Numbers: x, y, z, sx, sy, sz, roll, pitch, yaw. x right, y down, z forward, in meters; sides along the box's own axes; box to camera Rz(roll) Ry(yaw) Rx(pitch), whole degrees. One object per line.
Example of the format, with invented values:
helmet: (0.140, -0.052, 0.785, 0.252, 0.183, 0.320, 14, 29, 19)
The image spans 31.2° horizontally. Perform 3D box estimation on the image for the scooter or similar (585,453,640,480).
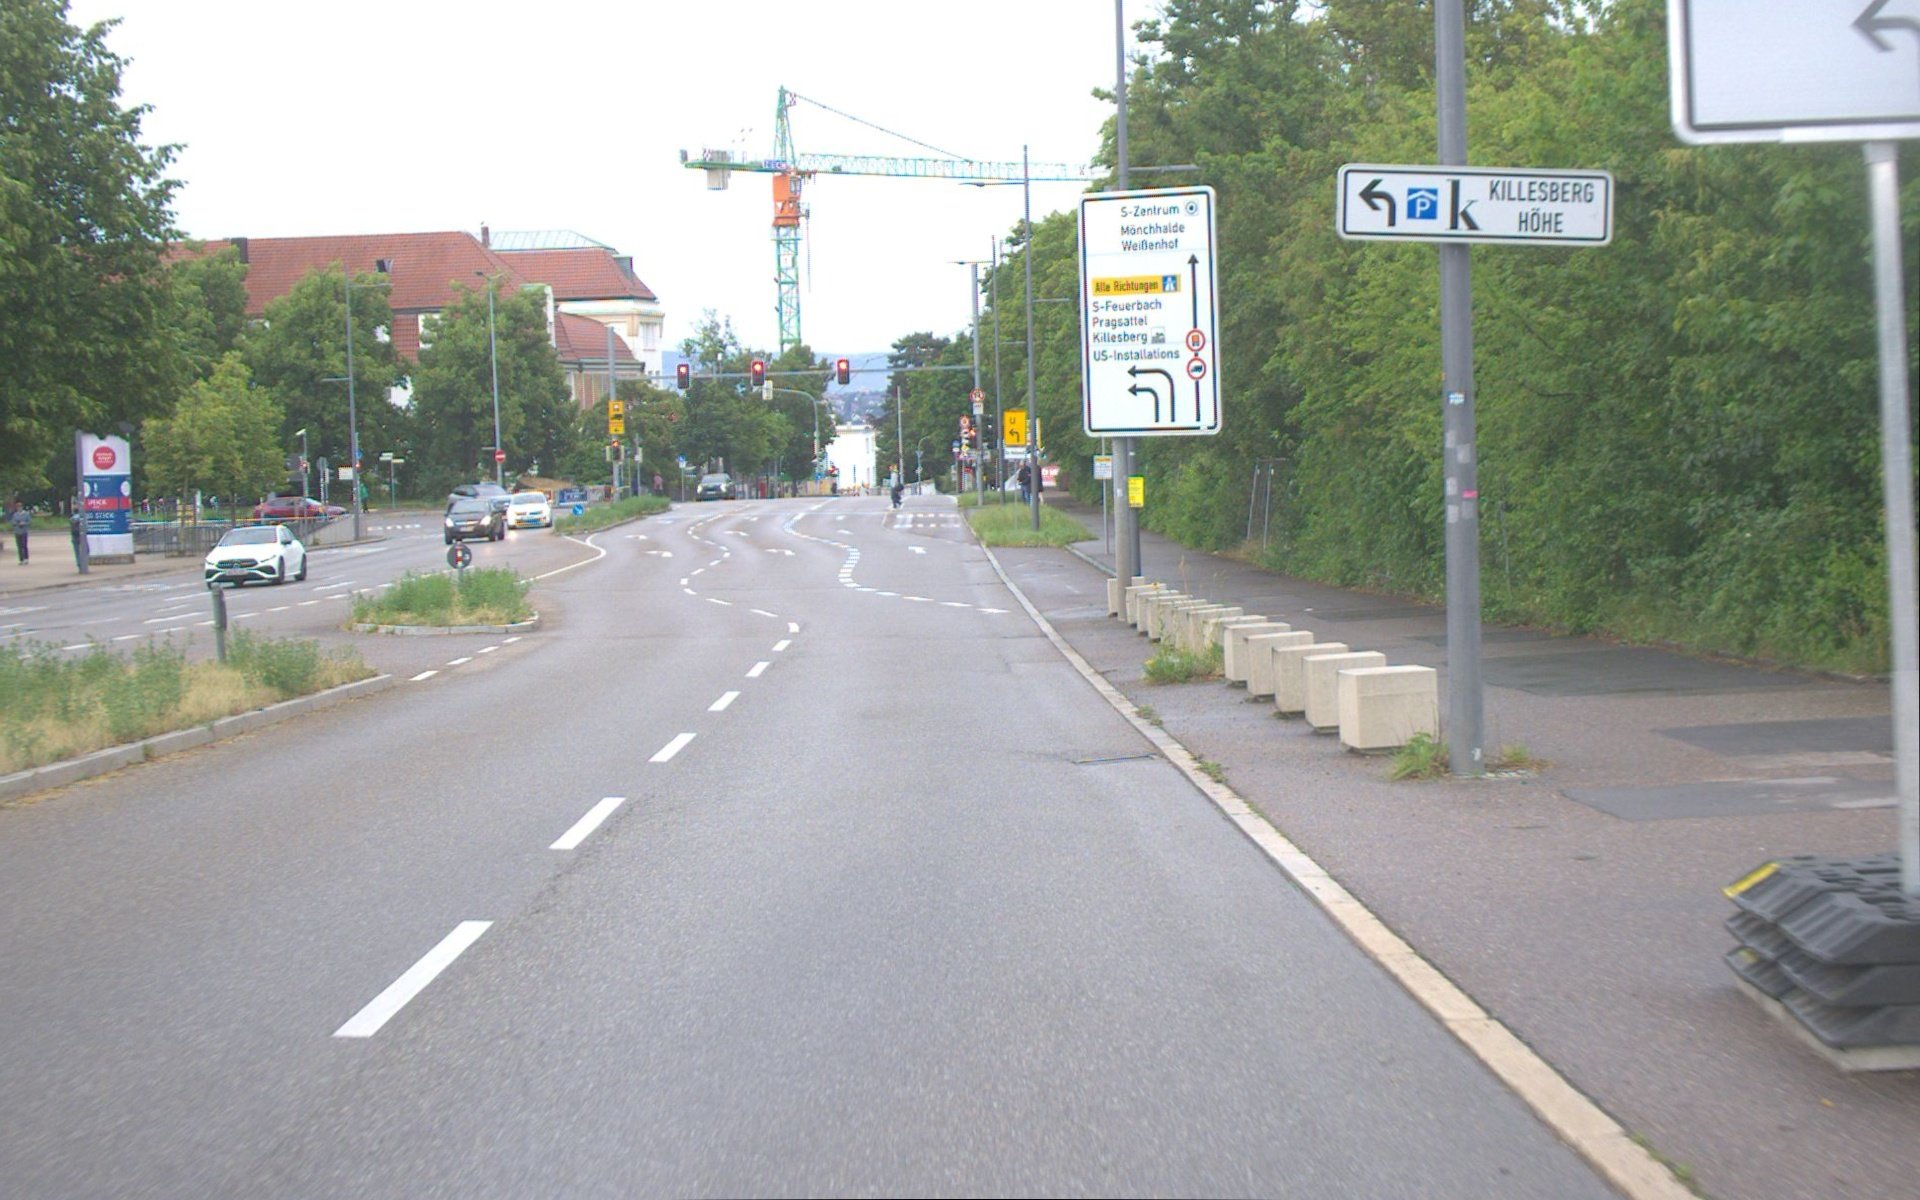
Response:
scooter or similar: (-20.224, -7.757, 200.082, 3.087, 1.435, 0.949, -2, 3, -2)

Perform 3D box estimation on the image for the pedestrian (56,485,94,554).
pedestrian: (-23.961, -2.175, 93.098, 0.753, 1.836, 0.746, -2, 2, 2)

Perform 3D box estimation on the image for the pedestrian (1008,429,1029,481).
pedestrian: (2.158, -5.376, 127.188, 0.640, 1.894, 0.718, -2, 3, -6)

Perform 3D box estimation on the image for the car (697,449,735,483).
car: (-14.002, -7.690, 197.551, 1.993, 1.831, 4.000, 0, 1, -2)

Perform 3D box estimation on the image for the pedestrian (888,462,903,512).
pedestrian: (-2.638, -4.594, 140.118, 0.401, 2.006, 0.513, -4, 2, 6)

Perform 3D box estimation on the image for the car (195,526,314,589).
car: (-17.191, -1.056, 83.924, 1.993, 1.413, 4.513, -1, 2, -1)

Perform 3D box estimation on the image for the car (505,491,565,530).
car: (-17.125, -3.638, 138.719, 1.873, 1.425, 4.176, -4, 2, -1)

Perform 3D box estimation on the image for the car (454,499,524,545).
car: (-16.220, -2.691, 118.495, 1.846, 1.457, 3.868, -3, 2, -1)

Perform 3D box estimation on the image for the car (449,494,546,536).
car: (-20.589, -3.772, 152.946, 3.995, 1.872, 1.996, 1, 1, 37)

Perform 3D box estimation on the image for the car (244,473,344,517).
car: (-30.738, -4.840, 158.665, 3.991, 1.910, 1.998, -1, 2, 22)
